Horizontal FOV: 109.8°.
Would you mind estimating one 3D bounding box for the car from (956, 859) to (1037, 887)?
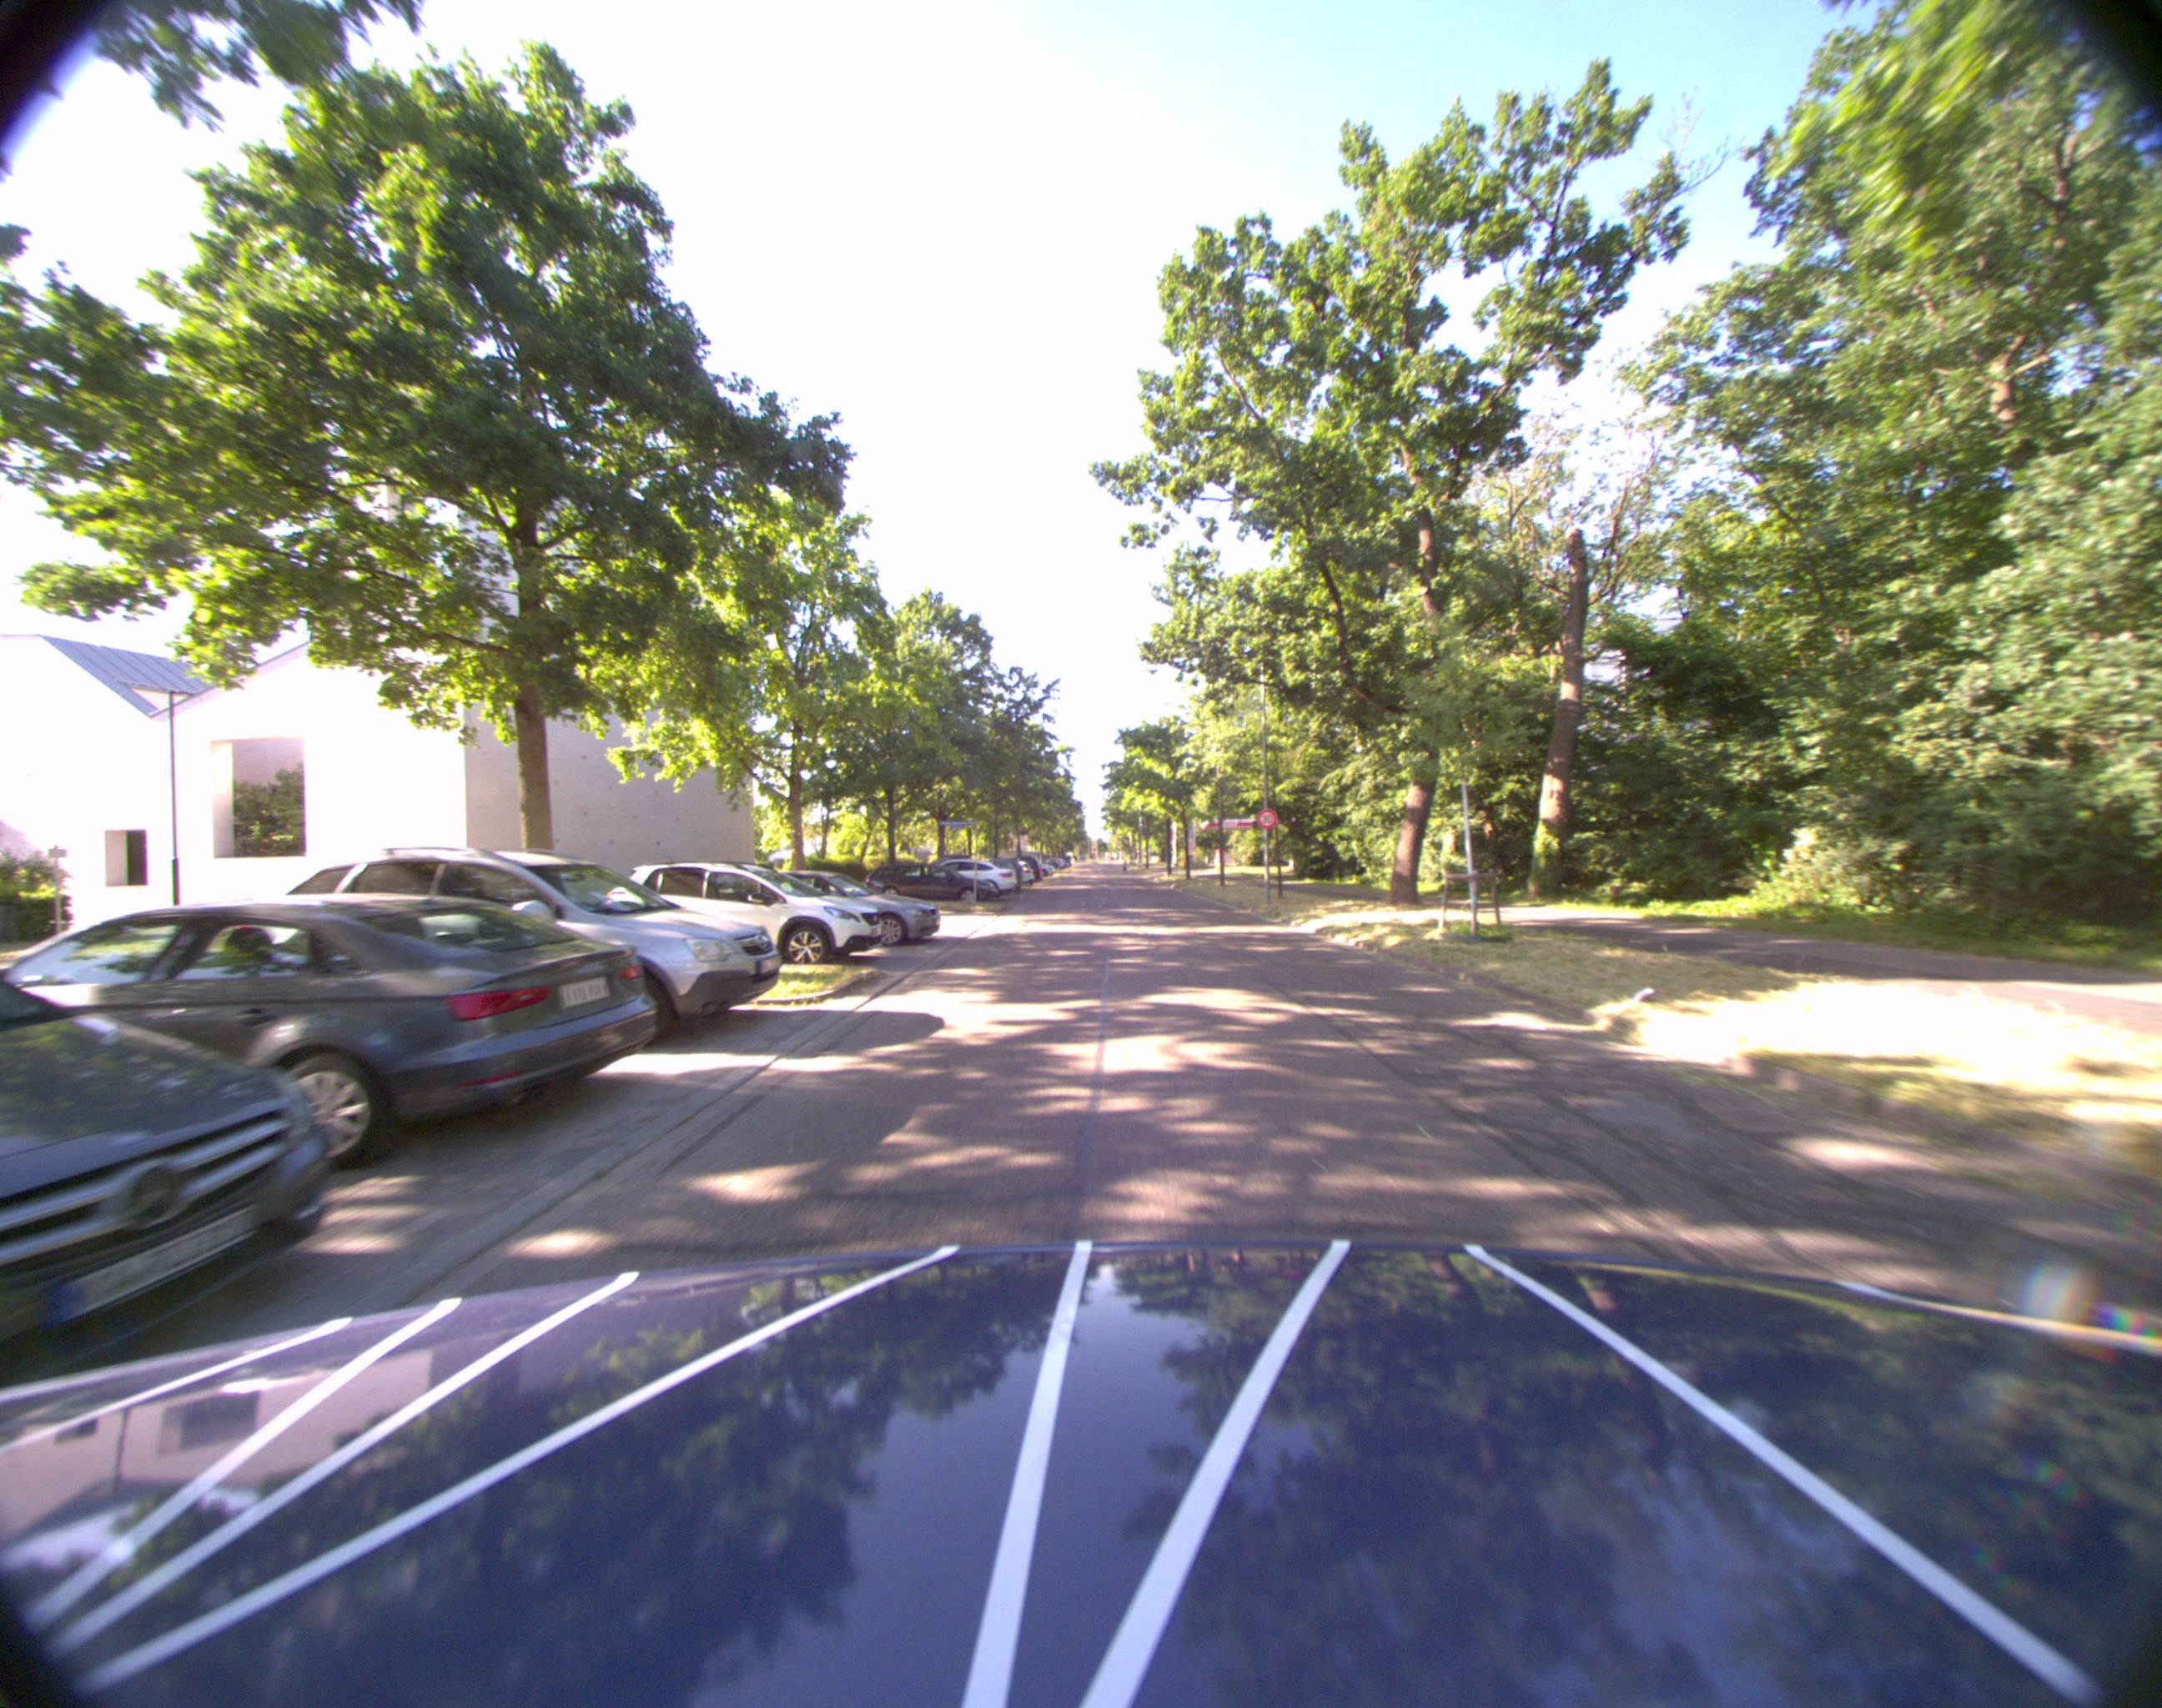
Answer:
[{"bbox_3d":[-4.615,1.018,41.843,4.231,1.463,1.800,1,0,2],"label":"car"}]

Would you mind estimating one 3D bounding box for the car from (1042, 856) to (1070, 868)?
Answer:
[{"bbox_3d":[-3.356,1.014,101.394,3.592,1.567,1.786,1,0,2],"label":"car"}]

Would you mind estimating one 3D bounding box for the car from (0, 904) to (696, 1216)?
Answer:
[{"bbox_3d":[-4.921,1.112,4.783,3.996,1.425,1.901,-1,0,2],"label":"car"}]

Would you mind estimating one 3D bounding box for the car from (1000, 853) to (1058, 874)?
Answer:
[{"bbox_3d":[-4.312,0.781,63.938,4.653,1.712,1.988,1,0,2],"label":"car"}]

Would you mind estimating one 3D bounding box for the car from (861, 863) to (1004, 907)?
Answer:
[{"bbox_3d":[-5.183,1.060,26.994,4.682,1.447,1.917,1,0,0],"label":"car"}]

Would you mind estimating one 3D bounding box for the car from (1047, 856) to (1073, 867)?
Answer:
[{"bbox_3d":[-2.901,1.006,106.062,3.529,1.523,1.665,1,1,2],"label":"car"}]

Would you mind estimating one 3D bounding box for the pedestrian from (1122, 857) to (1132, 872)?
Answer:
[{"bbox_3d":[4.768,1.068,78.764,0.942,1.491,0.885,0,0,2],"label":"pedestrian"}]

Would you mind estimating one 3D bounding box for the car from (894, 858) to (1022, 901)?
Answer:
[{"bbox_3d":[-4.781,0.983,30.031,4.682,1.571,1.917,1,0,1],"label":"car"}]

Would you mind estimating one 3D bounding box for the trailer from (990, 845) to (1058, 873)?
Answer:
[{"bbox_3d":[-4.985,0.443,66.776,5.788,2.304,1.686,1,0,3],"label":"trailer"}]

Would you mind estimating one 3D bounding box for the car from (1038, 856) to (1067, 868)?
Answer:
[{"bbox_3d":[-3.660,1.010,96.464,3.592,1.567,1.857,1,0,0],"label":"car"}]

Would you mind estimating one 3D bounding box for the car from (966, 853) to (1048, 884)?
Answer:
[{"bbox_3d":[-4.286,0.839,44.403,4.541,1.790,1.936,0,0,1],"label":"car"}]

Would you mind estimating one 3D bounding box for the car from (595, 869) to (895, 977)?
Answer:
[{"bbox_3d":[-5.090,1.012,11.909,3.895,1.488,1.777,1,0,0],"label":"car"}]

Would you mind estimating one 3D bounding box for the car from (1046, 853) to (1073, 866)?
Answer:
[{"bbox_3d":[-3.155,0.834,113.456,4.019,1.826,1.799,1,1,-2],"label":"car"}]

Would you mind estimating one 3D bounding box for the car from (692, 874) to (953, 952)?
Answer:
[{"bbox_3d":[-4.912,1.111,14.925,4.456,1.382,1.911,0,0,1],"label":"car"}]

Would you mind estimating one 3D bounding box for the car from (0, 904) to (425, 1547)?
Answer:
[{"bbox_3d":[-4.885,1.043,2.192,4.223,1.559,1.933,-2,0,-1],"label":"car"}]

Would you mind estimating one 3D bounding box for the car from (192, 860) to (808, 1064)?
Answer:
[{"bbox_3d":[-5.143,0.909,7.231,4.396,1.641,1.851,1,0,-1],"label":"car"}]
